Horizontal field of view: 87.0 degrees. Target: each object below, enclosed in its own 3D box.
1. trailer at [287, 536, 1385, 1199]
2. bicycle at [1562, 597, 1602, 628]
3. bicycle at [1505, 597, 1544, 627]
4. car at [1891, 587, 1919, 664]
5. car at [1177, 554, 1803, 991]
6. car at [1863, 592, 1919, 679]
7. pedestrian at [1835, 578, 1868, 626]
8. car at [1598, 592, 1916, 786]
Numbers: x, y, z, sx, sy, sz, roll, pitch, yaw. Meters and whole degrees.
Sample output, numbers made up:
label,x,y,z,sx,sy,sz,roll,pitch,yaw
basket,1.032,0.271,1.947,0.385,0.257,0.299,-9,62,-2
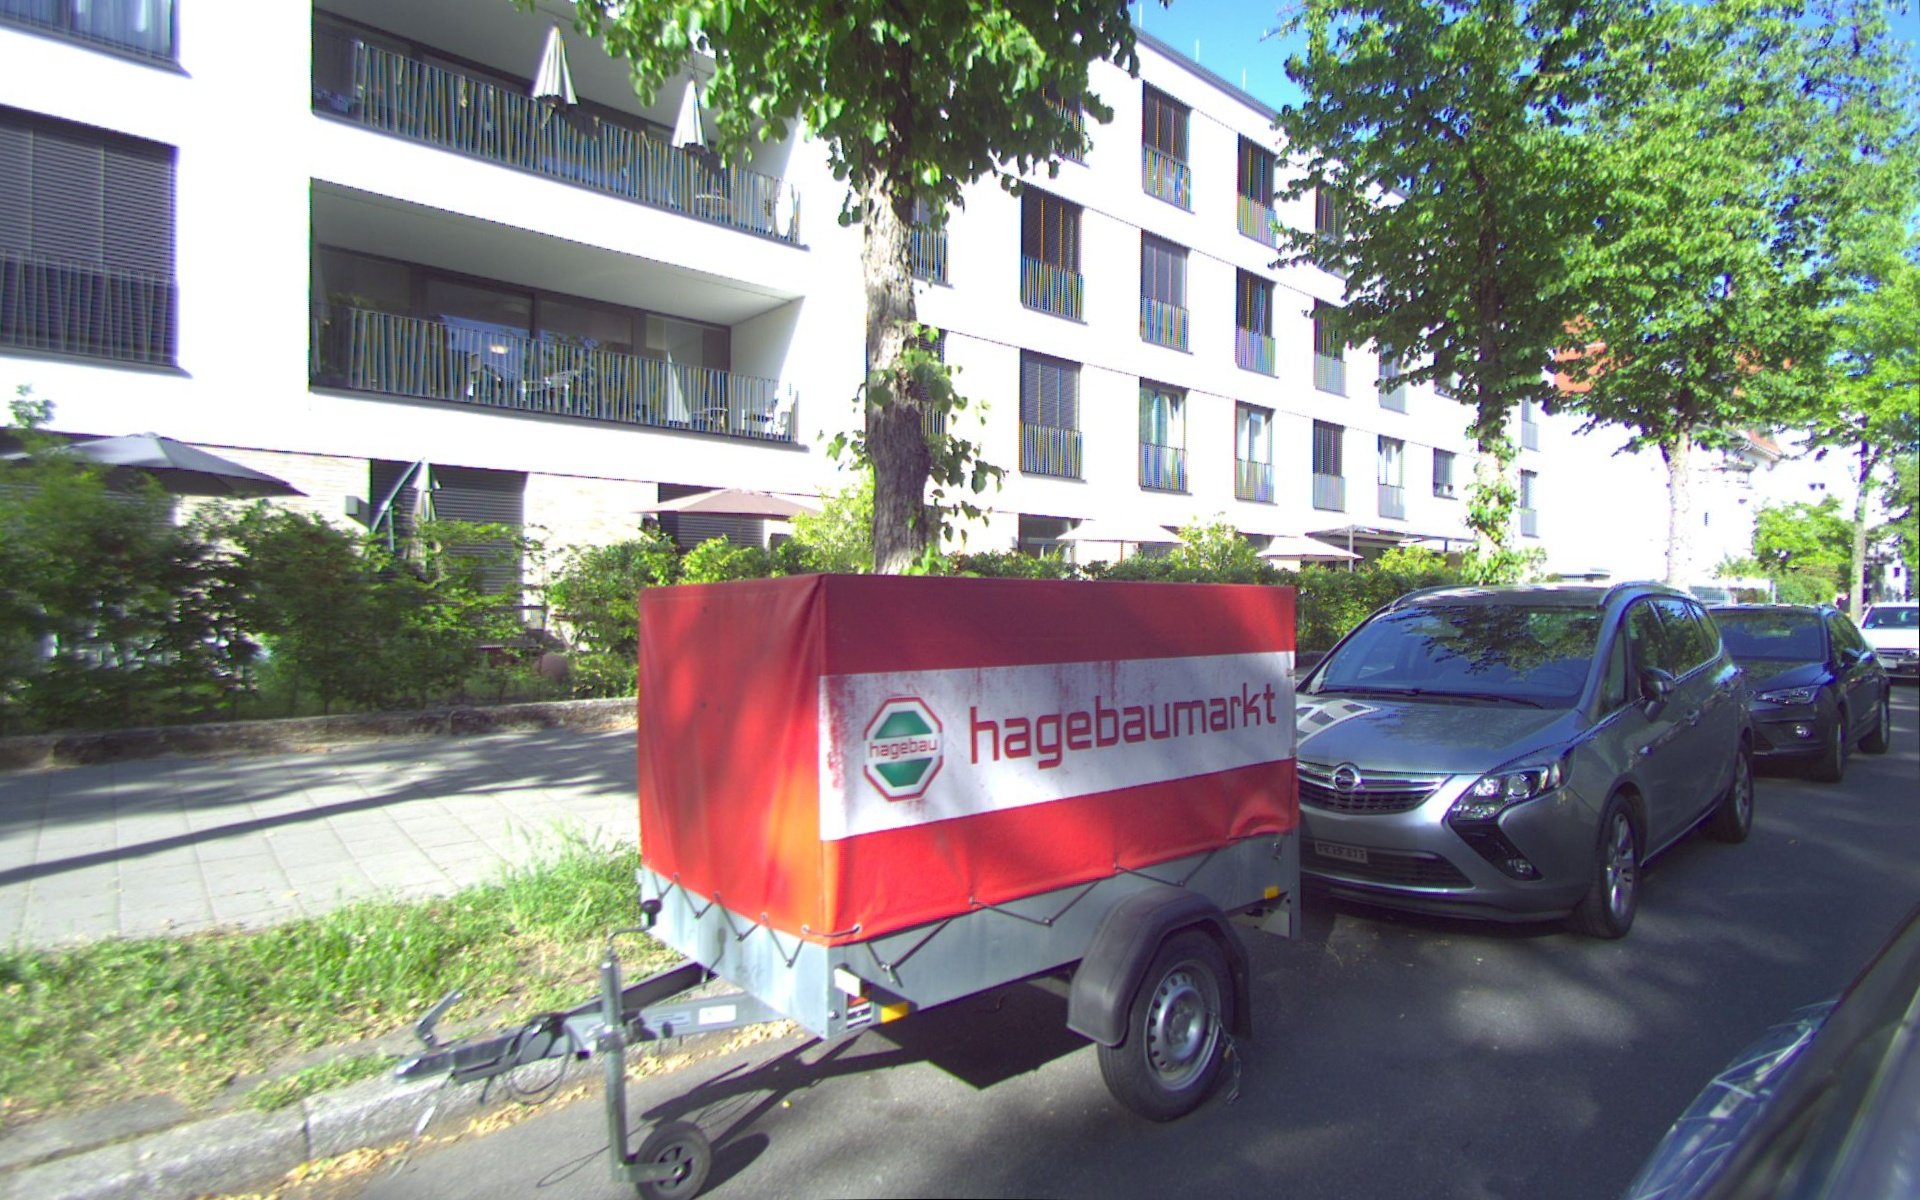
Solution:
label,x,y,z,sx,sy,sz,roll,pitch,yaw
trailer,-0.198,0.709,3.241,3.135,1.599,1.577,0,-1,-39
bicycle,18.768,0.378,30.526,1.581,0.905,0.564,0,0,-41
bicycle,17.693,0.370,31.691,1.581,0.905,0.564,0,0,-41
car,22.995,0.558,23.121,4.774,1.668,1.901,0,0,-39
car,3.482,0.665,6.125,4.736,1.664,1.794,0,-1,-42
car,18.674,0.628,19.438,1.781,1.537,4.612,0,0,44
pedestrian,38.458,0.075,43.675,0.988,2.039,0.907,0,1,-41
car,8.068,0.699,10.098,4.268,1.536,1.721,0,0,-41
